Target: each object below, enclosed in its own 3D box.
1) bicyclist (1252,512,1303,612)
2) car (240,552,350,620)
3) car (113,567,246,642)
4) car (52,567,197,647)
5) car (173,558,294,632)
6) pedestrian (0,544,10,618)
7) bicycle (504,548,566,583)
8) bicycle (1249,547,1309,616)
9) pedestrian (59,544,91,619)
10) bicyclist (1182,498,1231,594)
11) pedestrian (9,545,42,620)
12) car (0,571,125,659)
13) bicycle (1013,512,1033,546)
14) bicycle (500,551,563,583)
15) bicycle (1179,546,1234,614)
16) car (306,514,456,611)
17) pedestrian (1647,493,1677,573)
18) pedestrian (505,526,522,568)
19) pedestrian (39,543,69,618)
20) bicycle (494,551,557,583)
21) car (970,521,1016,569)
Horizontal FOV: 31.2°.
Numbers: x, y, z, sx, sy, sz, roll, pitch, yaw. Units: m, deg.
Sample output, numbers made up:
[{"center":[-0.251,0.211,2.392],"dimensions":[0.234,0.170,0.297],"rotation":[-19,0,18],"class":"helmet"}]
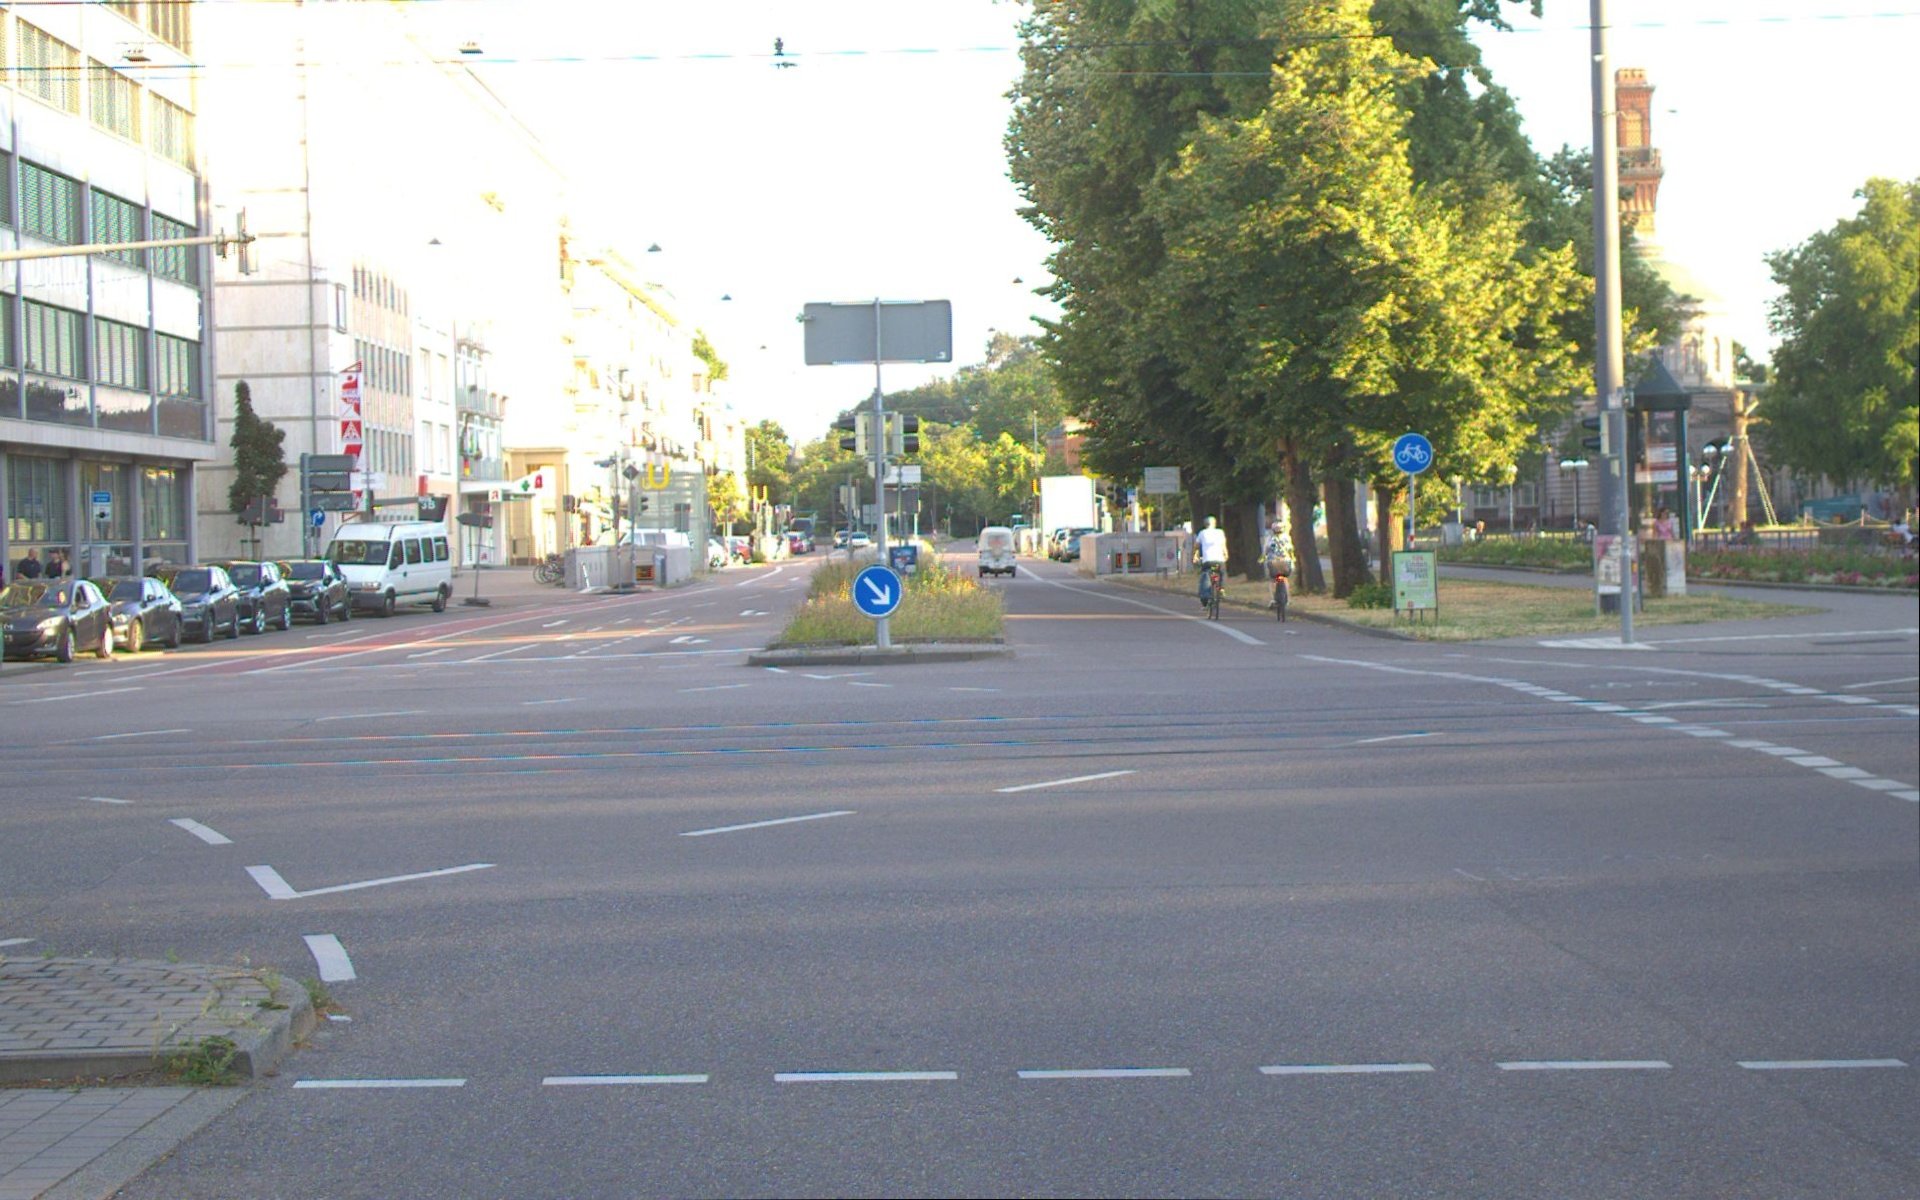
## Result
[{"center":[5.446,-0.657,58.962],"dimensions":[0.746,1.685,0.799],"rotation":[-2,1,-1],"class":"bicyclist"},{"center":[-16.367,-0.363,84.776],"dimensions":[1.920,1.563,4.000],"rotation":[-2,1,-1],"class":"car"},{"center":[-16.586,0.072,73.248],"dimensions":[1.920,1.459,4.000],"rotation":[-2,1,-1],"class":"car"},{"center":[-16.582,0.119,68.433],"dimensions":[1.920,1.459,4.000],"rotation":[-2,1,-1],"class":"car"},{"center":[-16.565,-0.131,78.550],"dimensions":[1.920,1.563,4.000],"rotation":[-2,1,-1],"class":"car"},{"center":[-21.900,-0.435,77.885],"dimensions":[0.551,1.673,0.500],"rotation":[-2,1,-1],"class":"pedestrian"},{"center":[-15.918,-1.288,128.880],"dimensions":[2.205,1.232,0.839],"rotation":[-2,1,-2],"class":"bicycle"},{"center":[5.458,-0.328,58.962],"dimensions":[0.746,1.140,2.505],"rotation":[-2,1,-1],"class":"bicycle"},{"center":[-20.051,-0.415,77.882],"dimensions":[0.551,1.673,0.500],"rotation":[-2,1,-1],"class":"pedestrian"},{"center":[4.342,-0.949,60.559],"dimensions":[0.746,1.658,0.873],"rotation":[-2,1,-1],"class":"bicyclist"},{"center":[-21.184,-0.393,77.935],"dimensions":[0.551,1.673,0.500],"rotation":[-2,1,-1],"class":"pedestrian"},{"center":[-16.492,0.250,61.886],"dimensions":[1.920,1.459,4.103],"rotation":[-2,1,-1],"class":"car"},{"center":[3.828,-4.286,207.968],"dimensions":[1.002,2.007,3.999],"rotation":[1,1,4],"class":"bicycle"},{"center":[-15.839,-1.215,127.090],"dimensions":[2.205,1.108,0.689],"rotation":[-2,1,-2],"class":"bicycle"},{"center":[4.350,-0.367,60.777],"dimensions":[0.746,1.140,2.505],"rotation":[-2,1,-1],"class":"bicycle"},{"center":[-15.308,-1.032,91.227],"dimensions":[2.002,2.469,5.865],"rotation":[-1,1,10],"class":"car"},{"center":[14.566,-1.385,71.330],"dimensions":[0.460,1.651,0.567],"rotation":[-1,1,-1],"class":"pedestrian"},{"center":[-21.438,-2.552,164.924],"dimensions":[0.680,2.007,0.545],"rotation":[-2,1,0],"class":"pedestrian"},{"center":[-20.689,-0.449,78.519],"dimensions":[0.500,1.673,0.500],"rotation":[-2,1,-1],"class":"pedestrian"},{"center":[-15.855,-1.193,125.475],"dimensions":[2.205,1.108,0.619],"rotation":[-2,1,-2],"class":"bicycle"},{"center":[1.162,-1.960,121.758],"dimensions":[1.408,1.636,4.000],"rotation":[-2,1,-2],"class":"car"}]
